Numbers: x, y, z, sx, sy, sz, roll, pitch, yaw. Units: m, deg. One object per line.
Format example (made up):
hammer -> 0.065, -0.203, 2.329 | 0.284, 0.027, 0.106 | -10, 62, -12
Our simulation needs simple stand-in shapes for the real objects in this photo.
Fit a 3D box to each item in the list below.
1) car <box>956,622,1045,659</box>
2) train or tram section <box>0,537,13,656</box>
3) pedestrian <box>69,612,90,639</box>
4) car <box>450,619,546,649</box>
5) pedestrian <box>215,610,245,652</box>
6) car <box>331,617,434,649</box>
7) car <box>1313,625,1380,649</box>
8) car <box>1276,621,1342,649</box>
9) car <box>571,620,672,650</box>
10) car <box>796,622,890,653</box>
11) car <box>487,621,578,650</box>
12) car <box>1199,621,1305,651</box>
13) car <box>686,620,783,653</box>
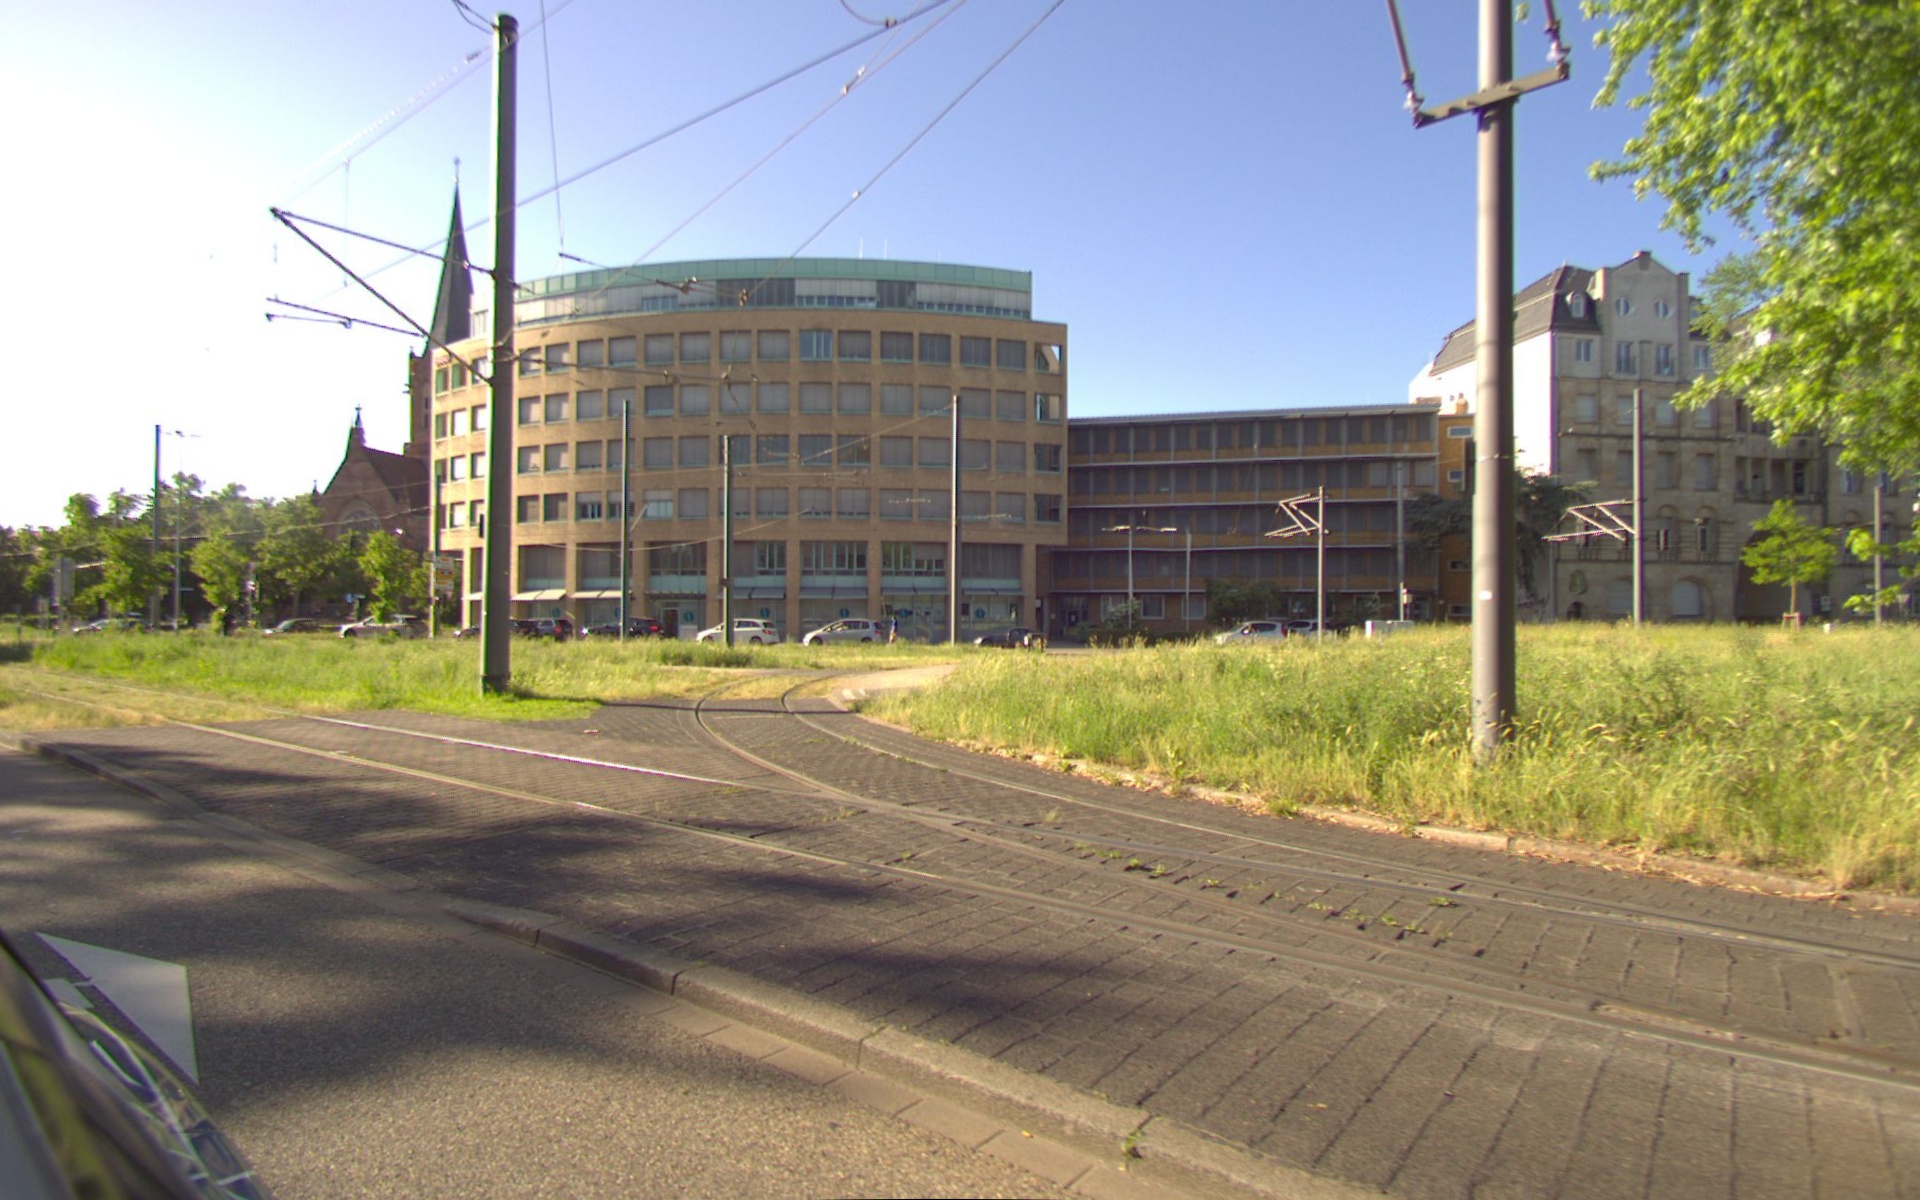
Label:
car -> 2.055, 2.014, 50.784 | 4.234, 1.524, 1.995 | 3, 0, 9
train or tram section -> -36.155, -0.002, 34.047 | 13.138, 3.713, 2.927 | -1, -1, 32
pedestrian -> -67.499, 1.951, 77.593 | 0.916, 2.029, 0.875 | 0, 0, 14
car -> -25.710, 1.866, 56.323 | 4.614, 1.528, 1.992 | 0, 0, 12
pedestrian -> -29.689, 1.240, 41.165 | 0.742, 1.683, 0.728 | -1, -1, 30
car -> -33.144, 1.878, 58.099 | 5.033, 1.747, 2.099 | -1, -1, 12
car -> 24.548, 2.315, 64.378 | 1.966, 1.351, 4.012 | 0, 0, -16
car -> 22.002, 2.198, 64.007 | 1.966, 1.593, 4.012 | 0, 0, -16
car -> -18.370, 1.878, 54.969 | 4.975, 1.458, 1.990 | 0, 0, 16
car -> -5.960, 1.902, 52.009 | 4.459, 1.438, 1.995 | 0, 0, 9
car -> -27.441, 2.255, 65.059 | 5.159, 1.681, 2.116 | 0, 0, 13
car -> 14.516, 1.802, 50.499 | 4.706, 1.364, 1.998 | -1, 0, 4
car -> -11.852, 1.891, 53.335 | 4.608, 1.608, 1.993 | 0, 0, 12
